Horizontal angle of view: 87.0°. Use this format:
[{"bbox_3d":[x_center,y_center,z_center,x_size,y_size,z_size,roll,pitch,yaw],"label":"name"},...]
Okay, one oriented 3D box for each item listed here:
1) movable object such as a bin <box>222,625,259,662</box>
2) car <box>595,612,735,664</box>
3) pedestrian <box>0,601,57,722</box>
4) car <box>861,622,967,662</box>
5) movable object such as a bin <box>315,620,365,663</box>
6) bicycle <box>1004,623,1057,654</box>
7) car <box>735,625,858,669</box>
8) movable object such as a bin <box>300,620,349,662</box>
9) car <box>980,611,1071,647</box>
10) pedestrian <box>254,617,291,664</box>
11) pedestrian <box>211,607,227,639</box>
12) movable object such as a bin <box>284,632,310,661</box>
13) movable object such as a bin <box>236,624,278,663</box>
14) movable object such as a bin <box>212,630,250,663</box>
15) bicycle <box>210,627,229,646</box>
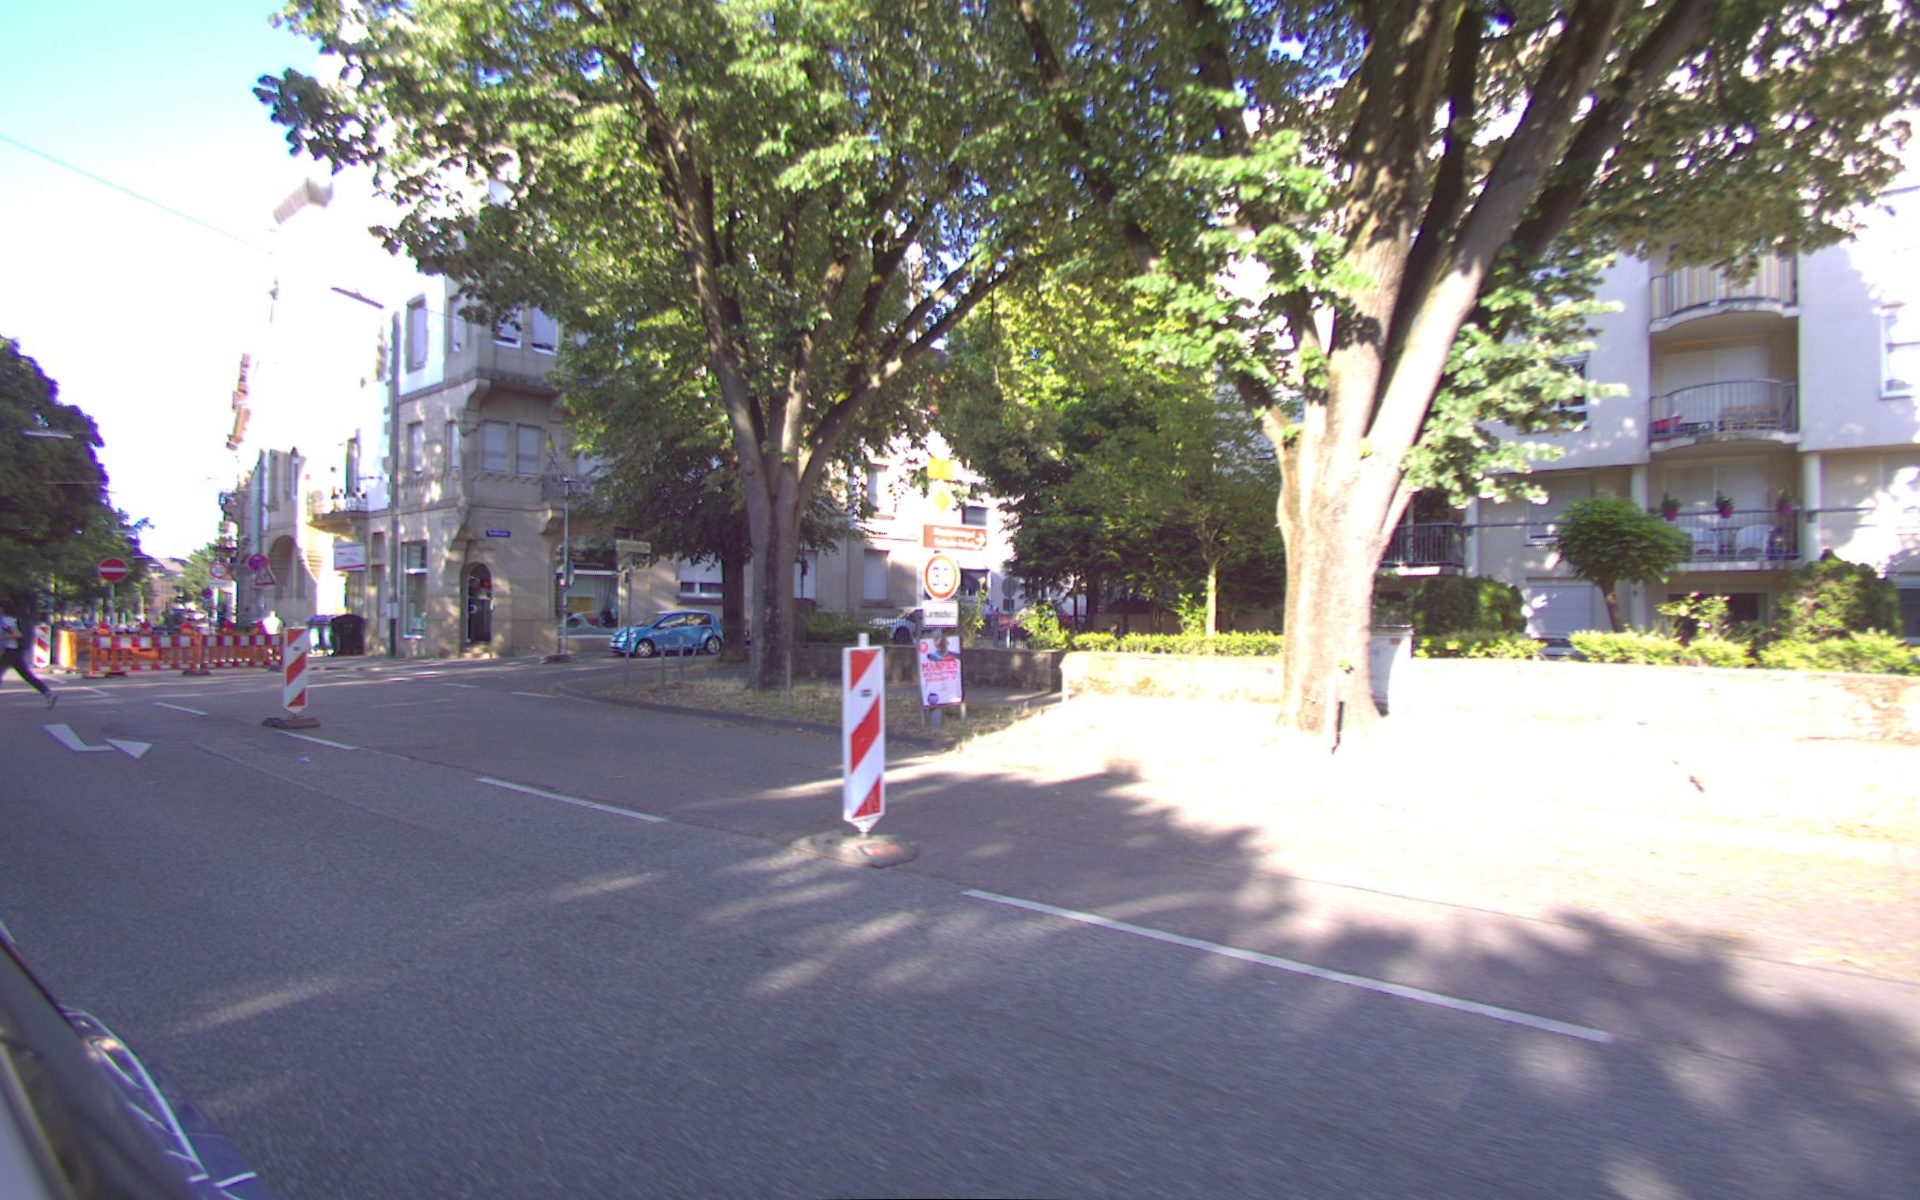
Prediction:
[{"bbox_3d":[-28.926,1.728,40.709,1.067,1.442,1.411,-1,-1,-31],"label":"movable object such as a bin"},{"bbox_3d":[-9.533,1.207,32.885,2.000,1.564,3.943,-2,-2,43],"label":"car"},{"bbox_3d":[-14.572,0.925,15.528,1.030,1.795,1.193,1,-2,-41],"label":"pedestrian"},{"bbox_3d":[-1.800,1.629,40.130,2.000,1.497,3.943,-2,-2,43],"label":"car"},{"bbox_3d":[-21.471,1.422,35.060,1.344,1.442,1.072,-2,-1,38],"label":"movable object such as a bin"},{"bbox_3d":[2.406,1.314,34.881,0.913,1.017,1.940,-1,-1,-28],"label":"bicycle"},{"bbox_3d":[-5.777,1.629,36.015,2.000,1.497,3.943,-2,-2,43],"label":"car"},{"bbox_3d":[-22.602,1.449,35.995,1.405,1.442,1.072,-2,-1,38],"label":"movable object such as a bin"},{"bbox_3d":[2.927,1.277,44.869,2.000,1.497,3.943,-2,-2,43],"label":"car"},{"bbox_3d":[-24.250,1.419,35.707,0.915,1.615,0.813,-2,-1,35],"label":"pedestrian"},{"bbox_3d":[-36.591,1.137,49.969,0.591,1.568,0.617,0,-1,-42],"label":"pedestrian"},{"bbox_3d":[-24.722,1.728,37.735,0.764,1.049,0.629,-2,-1,43],"label":"movable object such as a bin"},{"bbox_3d":[-27.264,1.680,39.233,1.407,1.442,1.070,-2,-1,44],"label":"movable object such as a bin"},{"bbox_3d":[-30.061,1.907,41.725,1.336,1.273,1.070,-2,-1,45],"label":"movable object such as a bin"},{"bbox_3d":[-36.502,1.798,49.887,0.592,0.939,1.475,-1,-1,-42],"label":"bicycle"}]
